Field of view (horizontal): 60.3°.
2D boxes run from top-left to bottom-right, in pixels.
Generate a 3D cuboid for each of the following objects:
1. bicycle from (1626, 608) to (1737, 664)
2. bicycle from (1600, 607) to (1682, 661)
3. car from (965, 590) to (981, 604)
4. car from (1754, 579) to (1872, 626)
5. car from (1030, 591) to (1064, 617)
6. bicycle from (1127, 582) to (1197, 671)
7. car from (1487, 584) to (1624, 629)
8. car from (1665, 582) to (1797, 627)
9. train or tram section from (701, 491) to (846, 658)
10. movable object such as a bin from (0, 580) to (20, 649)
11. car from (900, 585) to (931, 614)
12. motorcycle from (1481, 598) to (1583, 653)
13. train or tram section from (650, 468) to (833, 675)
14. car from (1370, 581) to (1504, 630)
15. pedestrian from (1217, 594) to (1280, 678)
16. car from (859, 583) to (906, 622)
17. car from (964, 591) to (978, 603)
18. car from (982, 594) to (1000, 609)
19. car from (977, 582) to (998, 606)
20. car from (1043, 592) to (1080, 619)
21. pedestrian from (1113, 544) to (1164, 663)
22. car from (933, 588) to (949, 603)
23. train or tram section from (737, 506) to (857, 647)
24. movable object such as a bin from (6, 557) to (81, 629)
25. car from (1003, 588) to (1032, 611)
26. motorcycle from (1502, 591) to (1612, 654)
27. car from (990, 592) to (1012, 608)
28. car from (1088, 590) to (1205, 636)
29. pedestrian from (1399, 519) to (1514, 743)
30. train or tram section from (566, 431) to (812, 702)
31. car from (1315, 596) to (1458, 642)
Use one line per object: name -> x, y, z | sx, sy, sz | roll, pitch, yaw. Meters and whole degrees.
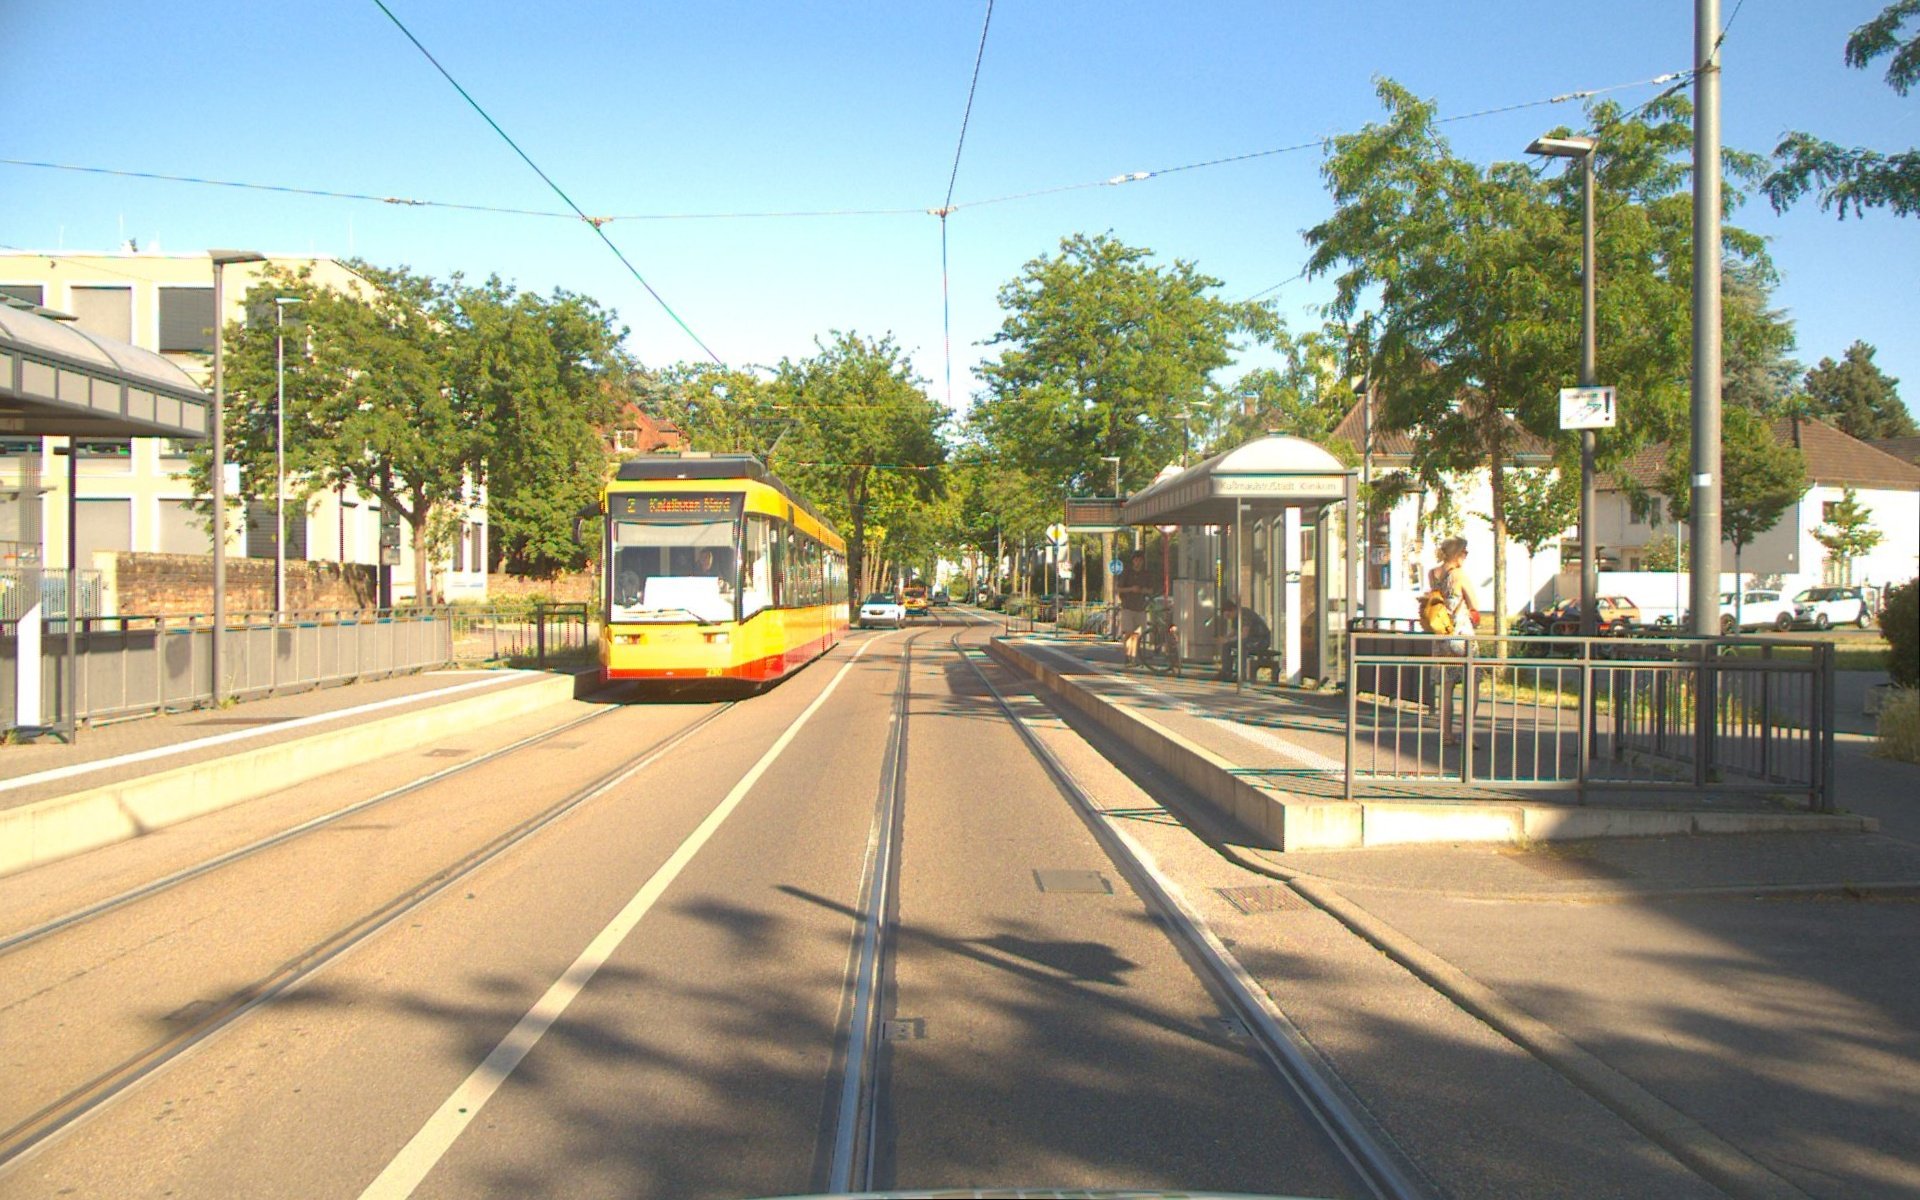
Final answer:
bicycle -> 13.090, 0.650, 30.011 | 1.862, 0.996, 0.490 | 0, 0, -8
bicycle -> 12.974, 0.639, 31.515 | 1.442, 0.996, 0.415 | 0, 0, -8
car -> 1.803, -0.415, 223.902 | 1.962, 1.704, 4.390 | -2, 0, -2
car -> 31.798, 0.084, 61.645 | 3.939, 1.601, 1.983 | 1, 1, -27
car -> 5.350, 0.252, 101.937 | 1.713, 1.521, 3.995 | -1, 0, -2
bicycle -> 2.973, 0.371, 24.517 | 0.607, 1.251, 1.964 | 1, 0, -5
car -> 20.820, 0.220, 57.909 | 4.084, 1.534, 1.978 | 0, 0, -8
car -> 27.561, 0.156, 59.121 | 4.099, 1.534, 1.971 | 0, 0, -19
train or tram section -> -4.160, -0.562, 38.289 | 2.747, 3.520, 6.666 | 0, 0, -2
movable object such as a bin -> -18.557, 0.280, 31.249 | 0.863, 1.307, 1.308 | 0, 0, -3
car -> -3.184, -0.056, 117.646 | 1.954, 2.000, 4.930 | 0, 0, -4
motorcycle -> 12.622, 0.550, 36.526 | 1.961, 1.178, 0.860 | 0, 0, -8
train or tram section -> -3.993, -0.513, 31.596 | 2.747, 3.520, 6.666 | 0, 0, -2
car -> 16.512, 0.180, 57.376 | 4.080, 1.670, 1.981 | 0, 0, -3
pedestrian -> 4.049, 0.500, 23.252 | 0.723, 1.137, 0.658 | 1, 0, -2
car -> -3.423, 0.097, 73.410 | 1.728, 1.693, 4.211 | 0, 0, 2
car -> 1.606, -0.473, 241.357 | 1.961, 1.704, 4.393 | -2, 0, 2
car -> 3.196, 0.100, 170.412 | 1.594, 1.422, 3.644 | -3, 1, -2
car -> 3.139, -0.685, 191.741 | 2.200, 2.700, 5.583 | 0, 0, -2
car -> 5.833, 0.299, 95.783 | 1.713, 1.521, 4.442 | -1, 0, -2
pedestrian -> 2.892, 0.059, 26.842 | 0.696, 1.886, 0.729 | 1, 0, 0
car -> -2.353, -0.556, 200.186 | 1.828, 1.704, 4.171 | -1, 0, -2
train or tram section -> -4.307, -0.612, 44.960 | 2.747, 3.520, 6.666 | 0, 0, -2
movable object such as a bin -> -19.136, -0.150, 34.562 | 0.863, 1.472, 1.308 | 0, 0, -3
car -> 4.657, -0.042, 134.380 | 1.954, 1.734, 4.475 | -3, 0, -3
motorcycle -> 12.602, 0.475, 34.940 | 2.038, 1.296, 0.860 | 0, 0, -8
car -> 3.999, -0.022, 160.576 | 1.749, 1.473, 4.298 | -3, 1, -3
car -> 6.419, 0.421, 56.678 | 3.902, 1.534, 1.984 | 0, 0, 8
pedestrian -> 3.965, 0.242, 13.241 | 0.658, 1.734, 0.690 | 1, 0, -3
train or tram section -> -3.826, -0.457, 24.915 | 2.747, 3.520, 6.666 | 0, 0, -2
car -> 14.080, 0.647, 54.839 | 4.505, 1.492, 1.983 | 0, -1, 12
